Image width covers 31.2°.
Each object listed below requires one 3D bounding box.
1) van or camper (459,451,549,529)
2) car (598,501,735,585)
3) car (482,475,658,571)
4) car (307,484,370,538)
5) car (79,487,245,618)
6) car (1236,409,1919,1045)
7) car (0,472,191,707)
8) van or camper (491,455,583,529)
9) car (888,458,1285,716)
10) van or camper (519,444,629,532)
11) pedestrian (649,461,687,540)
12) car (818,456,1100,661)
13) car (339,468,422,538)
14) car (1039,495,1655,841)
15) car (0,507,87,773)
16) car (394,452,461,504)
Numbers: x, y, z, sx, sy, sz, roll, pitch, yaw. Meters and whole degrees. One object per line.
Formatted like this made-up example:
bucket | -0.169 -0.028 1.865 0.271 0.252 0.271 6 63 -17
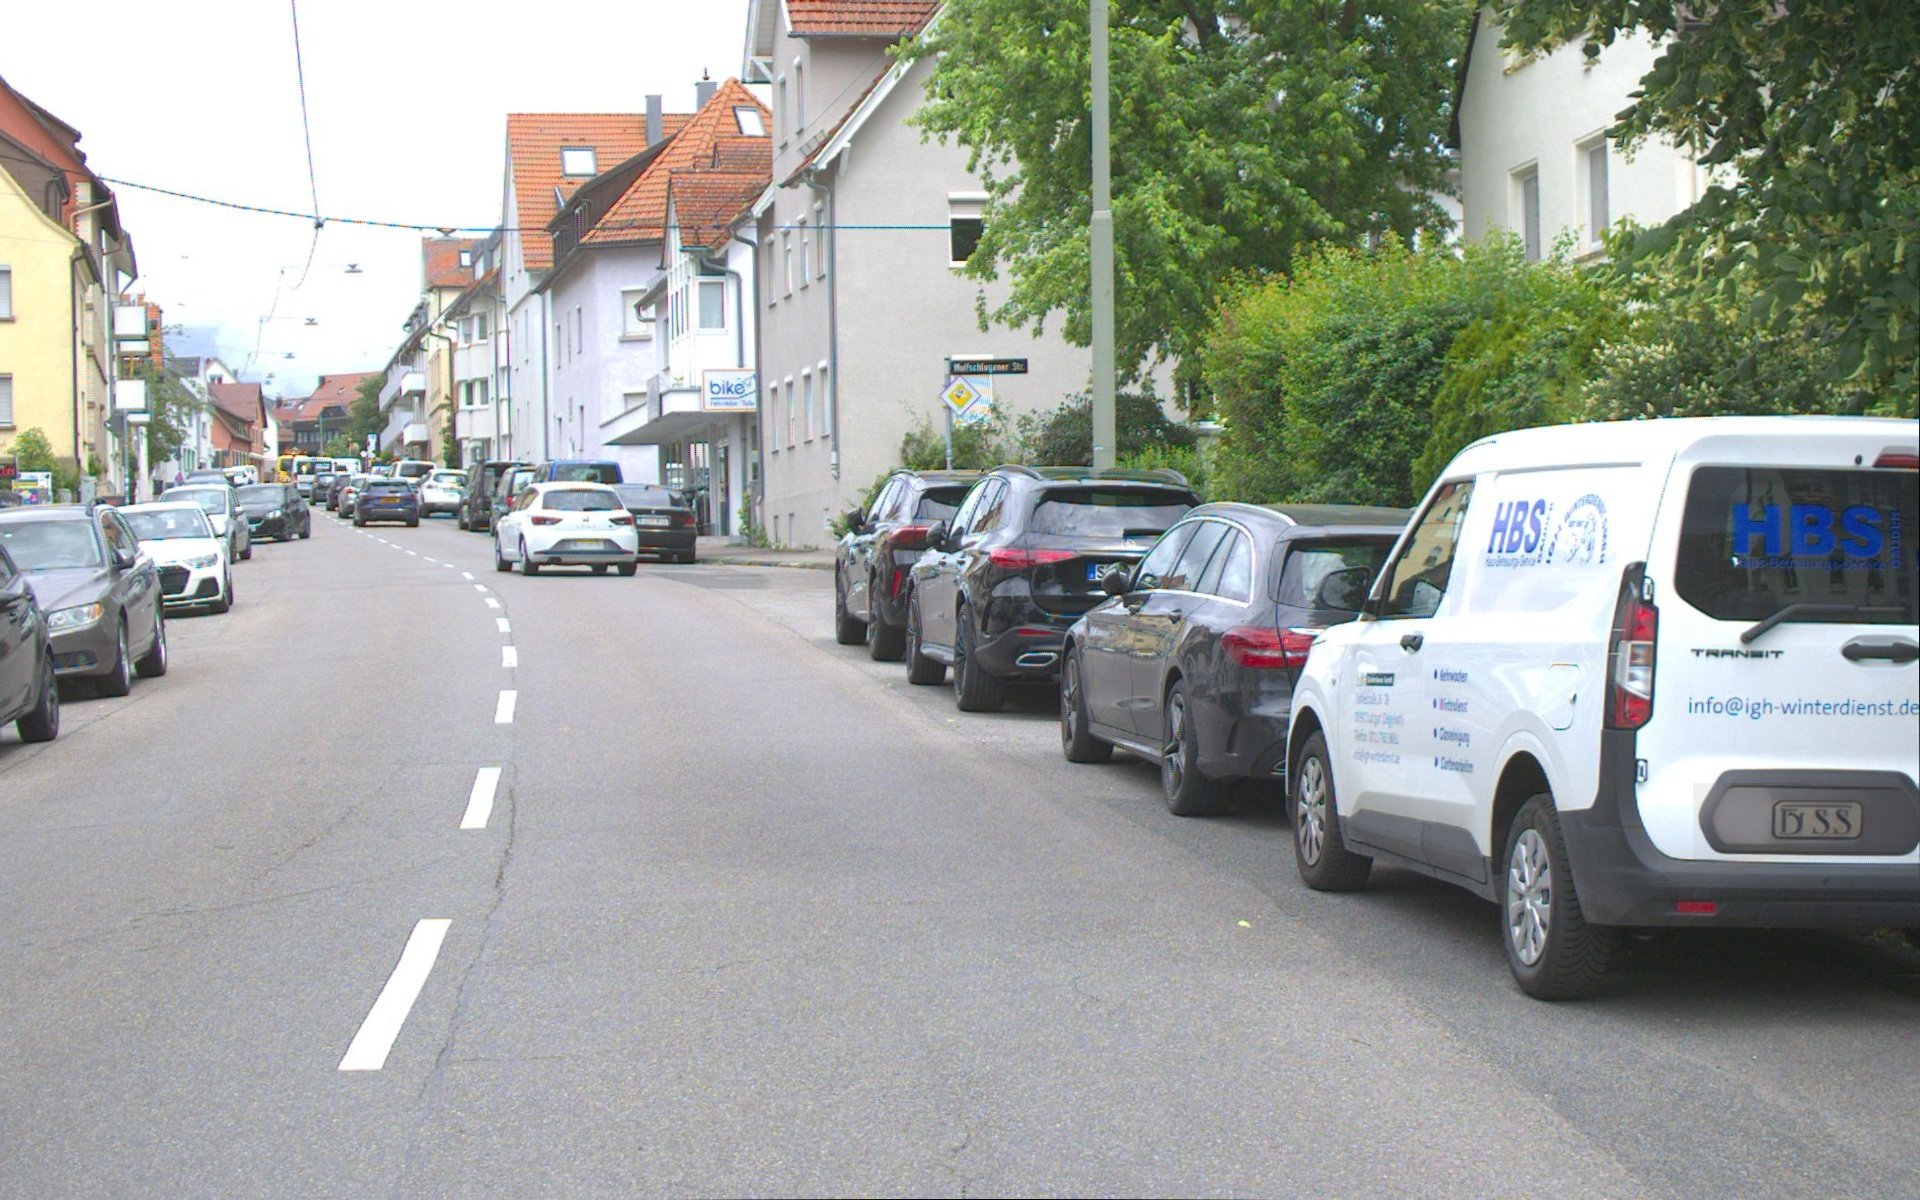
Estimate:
van or camper | -12.845 -3.102 96.533 1.993 2.058 5.947 1 2 -12
car | -5.697 -1.126 66.264 1.993 1.512 4.893 0 2 -12
car | -6.095 -1.226 53.381 1.940 1.434 4.002 -1 2 -18
car | -23.697 -3.400 130.983 2.151 2.006 4.002 0 2 -13
car | -10.061 -0.630 43.577 1.725 1.453 3.900 -5 2 -10
car | 2.384 0.286 11.821 1.837 1.768 4.319 1 2 -9
car | -7.380 -0.134 27.556 1.846 1.674 4.788 -4 2 -7
van or camper | -10.967 -2.796 88.949 1.870 1.822 4.682 1 2 -13
car | 0.762 -0.132 23.979 1.993 1.610 4.540 1 1 -8
van or camper | -8.752 -2.546 77.583 1.926 1.919 4.833 0 2 -13
pedestrian | -7.496 -2.553 88.332 0.760 2.006 0.619 0 2 23
car | -0.097 -0.383 29.651 1.810 1.610 4.540 1 1 -8
car | -16.990 -2.846 100.701 2.151 2.006 4.002 0 2 -13
car | 1.761 0.233 17.349 1.993 1.473 4.621 -1 2 -8
car | -6.417 0.248 20.494 1.762 1.433 4.079 -5 3 -7
car | -18.295 -4.206 117.979 1.940 1.687 4.002 1 2 -13
